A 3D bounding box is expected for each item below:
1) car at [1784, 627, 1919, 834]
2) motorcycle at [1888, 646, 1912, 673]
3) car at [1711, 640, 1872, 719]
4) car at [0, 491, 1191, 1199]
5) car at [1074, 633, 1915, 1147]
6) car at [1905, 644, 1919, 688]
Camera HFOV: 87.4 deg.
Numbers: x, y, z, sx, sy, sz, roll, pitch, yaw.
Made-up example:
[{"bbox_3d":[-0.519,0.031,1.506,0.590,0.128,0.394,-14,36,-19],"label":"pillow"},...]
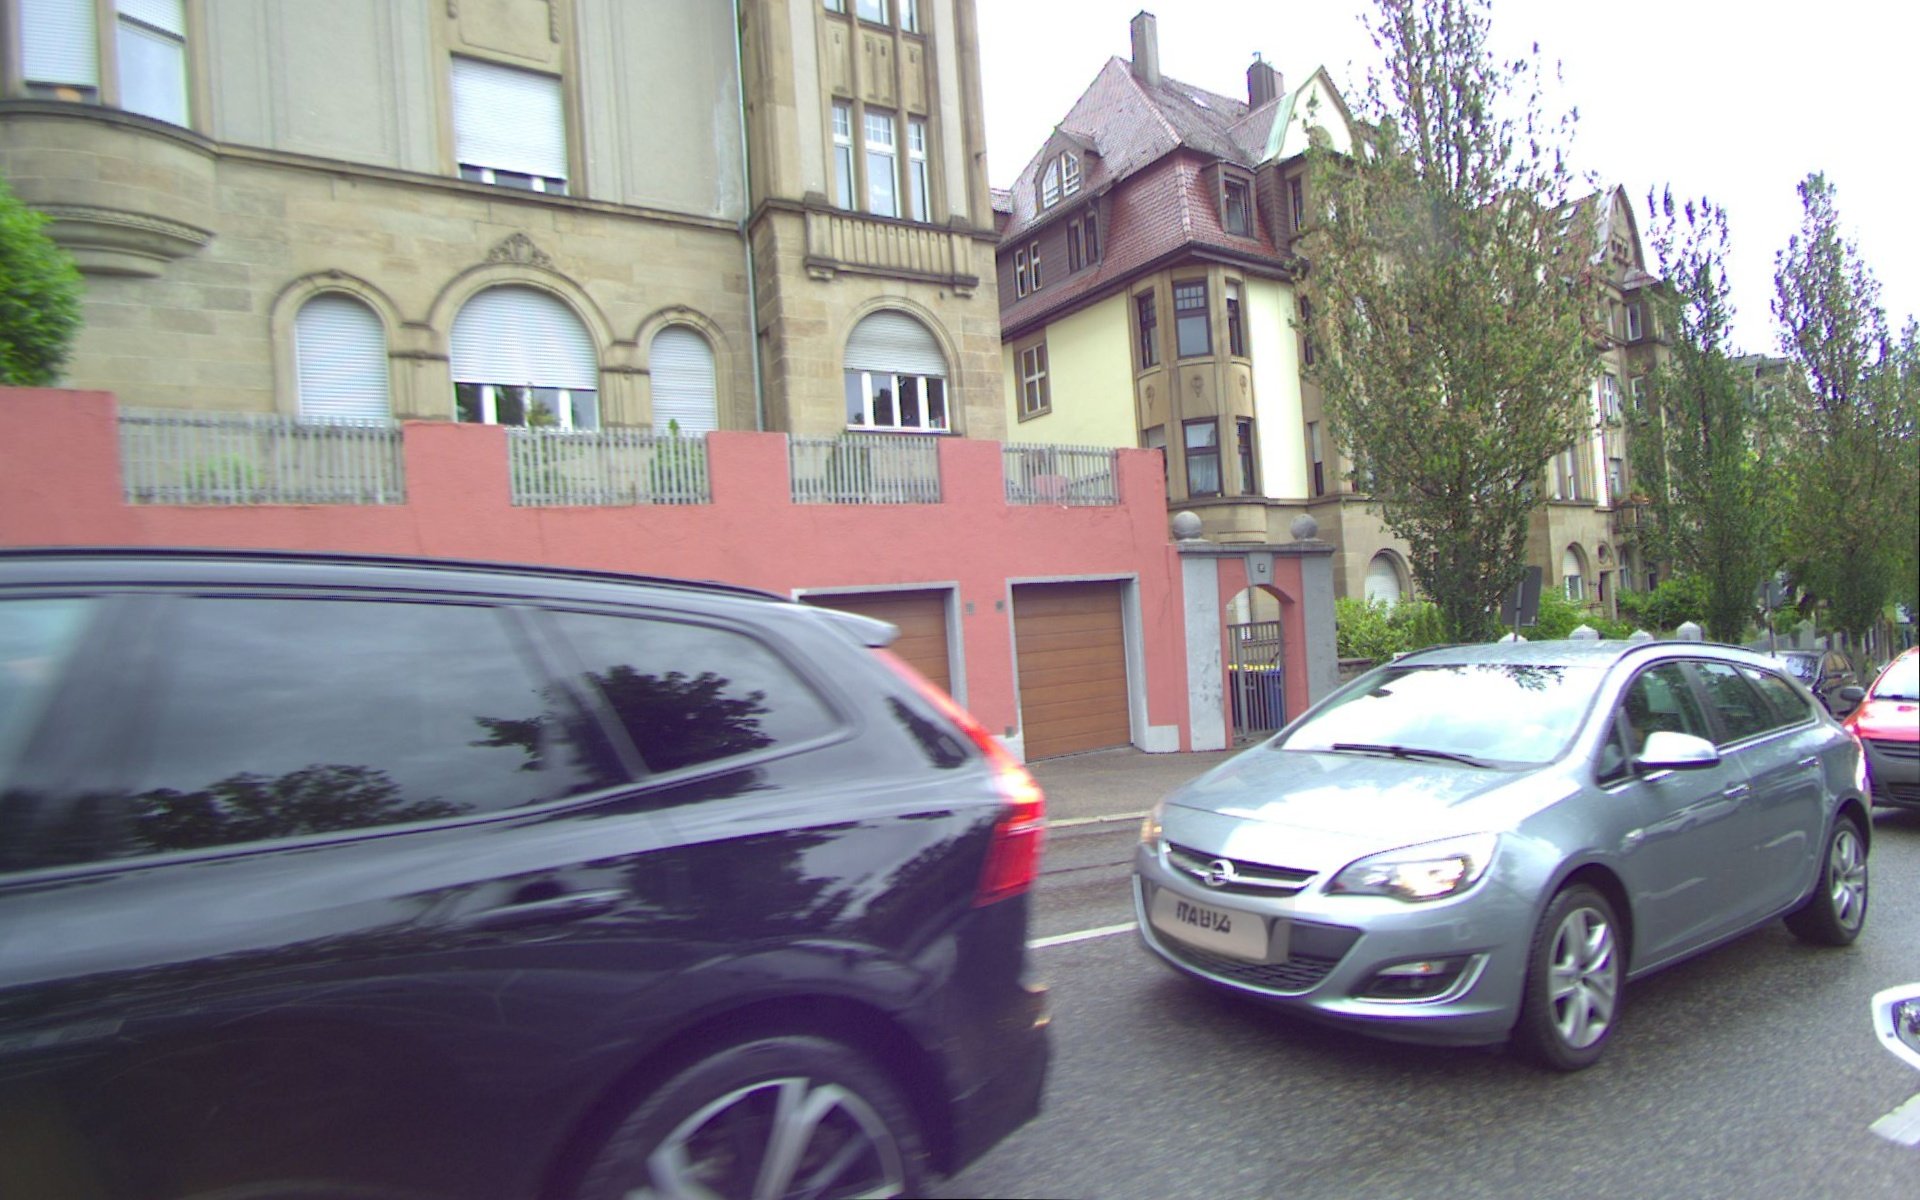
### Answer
[{"bbox_3d":[9.037,1.039,8.782,3.955,1.589,1.646,1,-2,-32],"label":"car"},{"bbox_3d":[44.167,2.808,47.199,1.630,1.253,0.555,2,-5,-39],"label":"motorcycle"},{"bbox_3d":[19.039,1.755,22.971,3.958,1.633,1.804,2,-2,-34],"label":"car"},{"bbox_3d":[-1.866,0.689,1.980,4.534,1.595,1.866,1,-3,-31],"label":"car"},{"bbox_3d":[2.748,0.944,4.885,4.216,1.517,1.764,2,-3,-32],"label":"car"},{"bbox_3d":[38.743,2.518,39.590,4.166,1.672,1.772,2,-7,-43],"label":"car"}]
